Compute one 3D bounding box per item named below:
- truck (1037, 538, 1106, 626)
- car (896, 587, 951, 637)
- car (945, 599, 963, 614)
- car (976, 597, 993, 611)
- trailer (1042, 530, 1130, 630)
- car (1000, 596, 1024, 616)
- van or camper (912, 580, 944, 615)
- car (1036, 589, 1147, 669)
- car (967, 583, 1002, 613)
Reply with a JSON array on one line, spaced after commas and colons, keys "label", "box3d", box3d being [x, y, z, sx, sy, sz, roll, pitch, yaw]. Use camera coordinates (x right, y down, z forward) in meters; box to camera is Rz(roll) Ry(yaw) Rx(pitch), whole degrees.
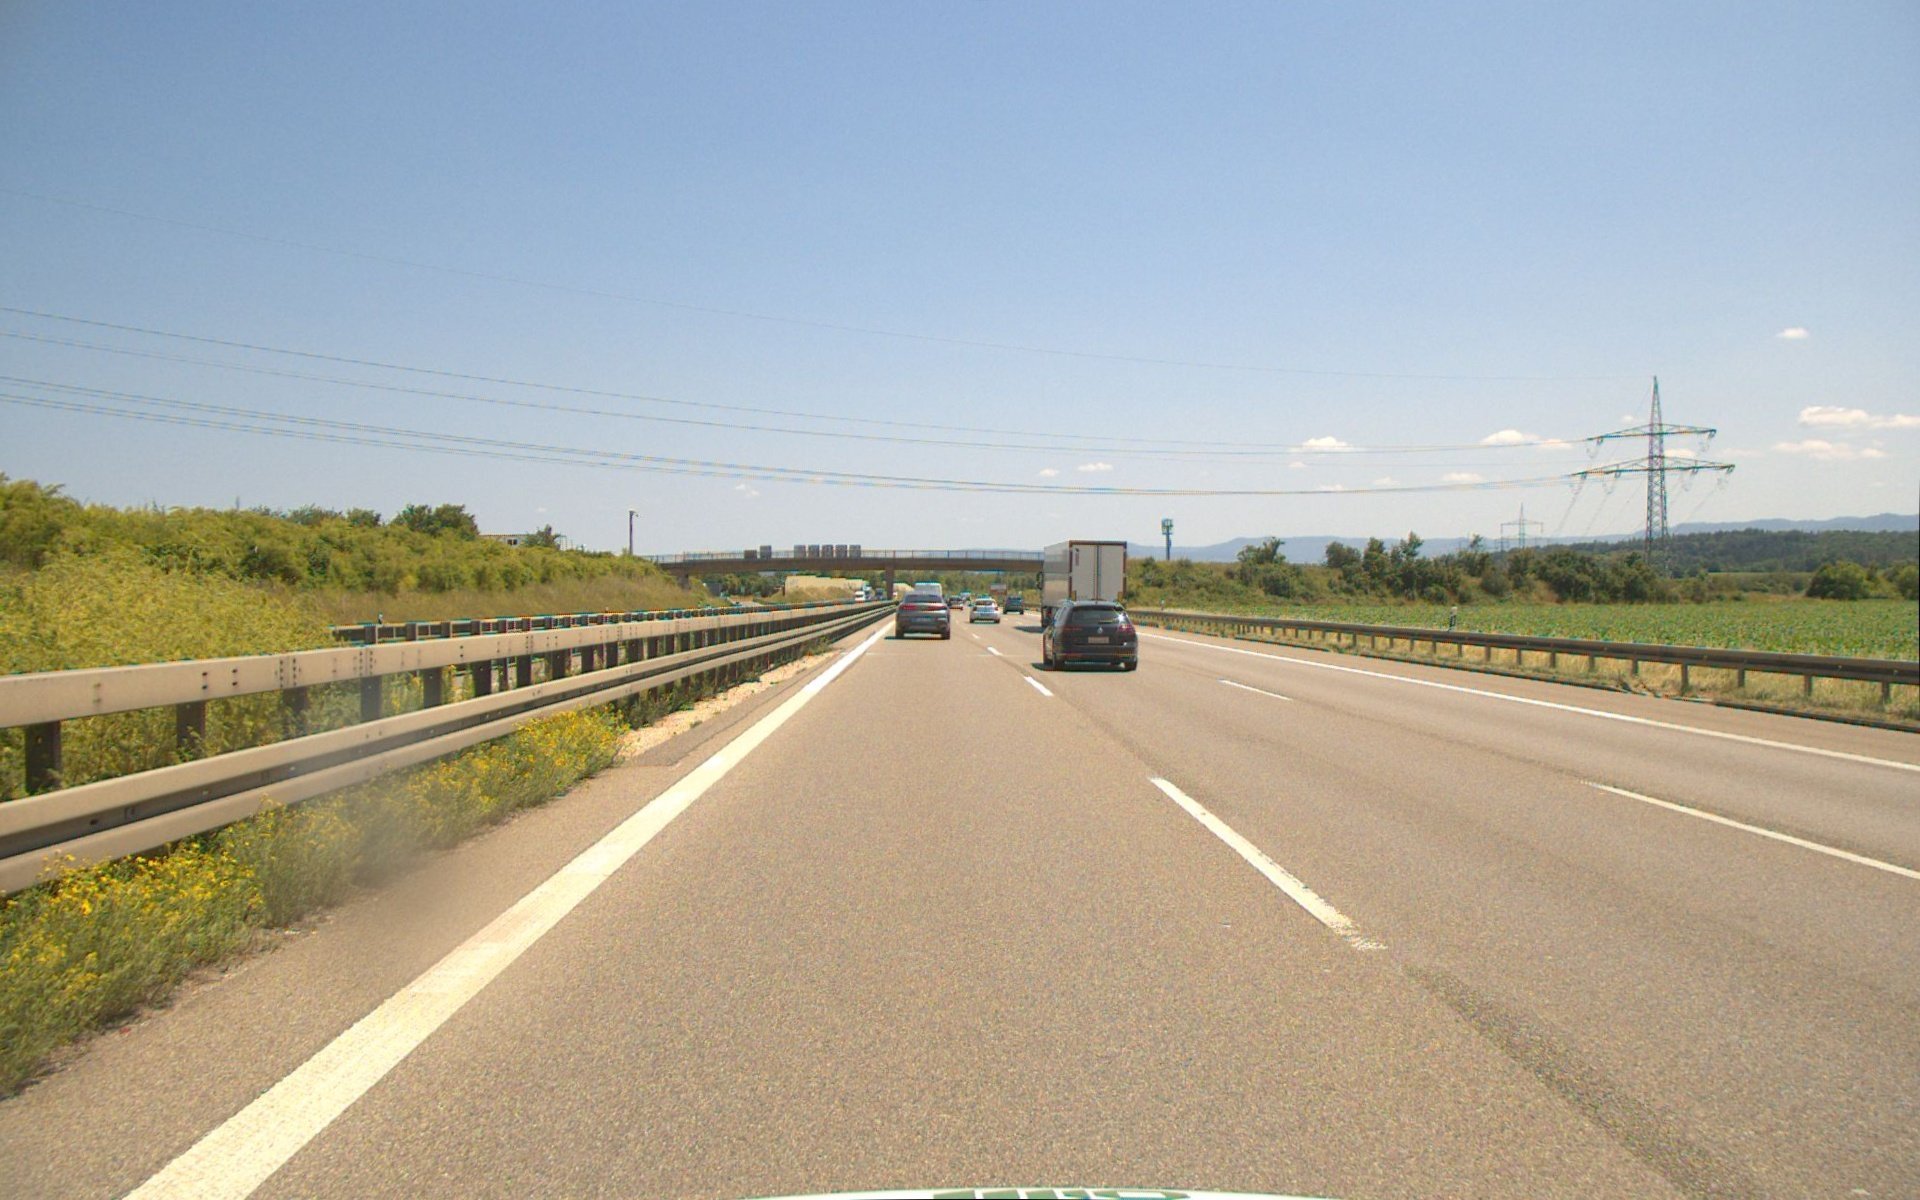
[{"label": "truck", "box3d": [5.693, -0.911, 85.675, 2.919, 4.301, 7.685, 1, 0, -1]}, {"label": "car", "box3d": [-1.342, 0.411, 59.337, 1.815, 1.693, 3.732, 1, 0, -4]}, {"label": "car", "box3d": [-0.635, 0.716, 186.186, 1.953, 1.712, 3.999, 1, 0, -1]}, {"label": "car", "box3d": [3.056, 0.504, 207.855, 1.953, 1.712, 3.999, 1, 0, -1]}, {"label": "trailer", "box3d": [5.780, -0.862, 78.383, 2.883, 4.271, 13.593, 1, 0, -1]}, {"label": "car", "box3d": [4.779, 0.544, 152.033, 1.953, 1.712, 3.999, 1, 0, -1]}, {"label": "van or camper", "box3d": [-2.126, -0.152, 109.727, 2.068, 2.250, 5.264, 1, 0, -1]}, {"label": "car", "box3d": [2.803, 0.591, 36.188, 1.894, 1.602, 4.933, 1, 0, -2]}, {"label": "car", "box3d": [1.422, -0.109, 98.587, 1.953, 1.712, 3.999, 1, 0, -1]}]
